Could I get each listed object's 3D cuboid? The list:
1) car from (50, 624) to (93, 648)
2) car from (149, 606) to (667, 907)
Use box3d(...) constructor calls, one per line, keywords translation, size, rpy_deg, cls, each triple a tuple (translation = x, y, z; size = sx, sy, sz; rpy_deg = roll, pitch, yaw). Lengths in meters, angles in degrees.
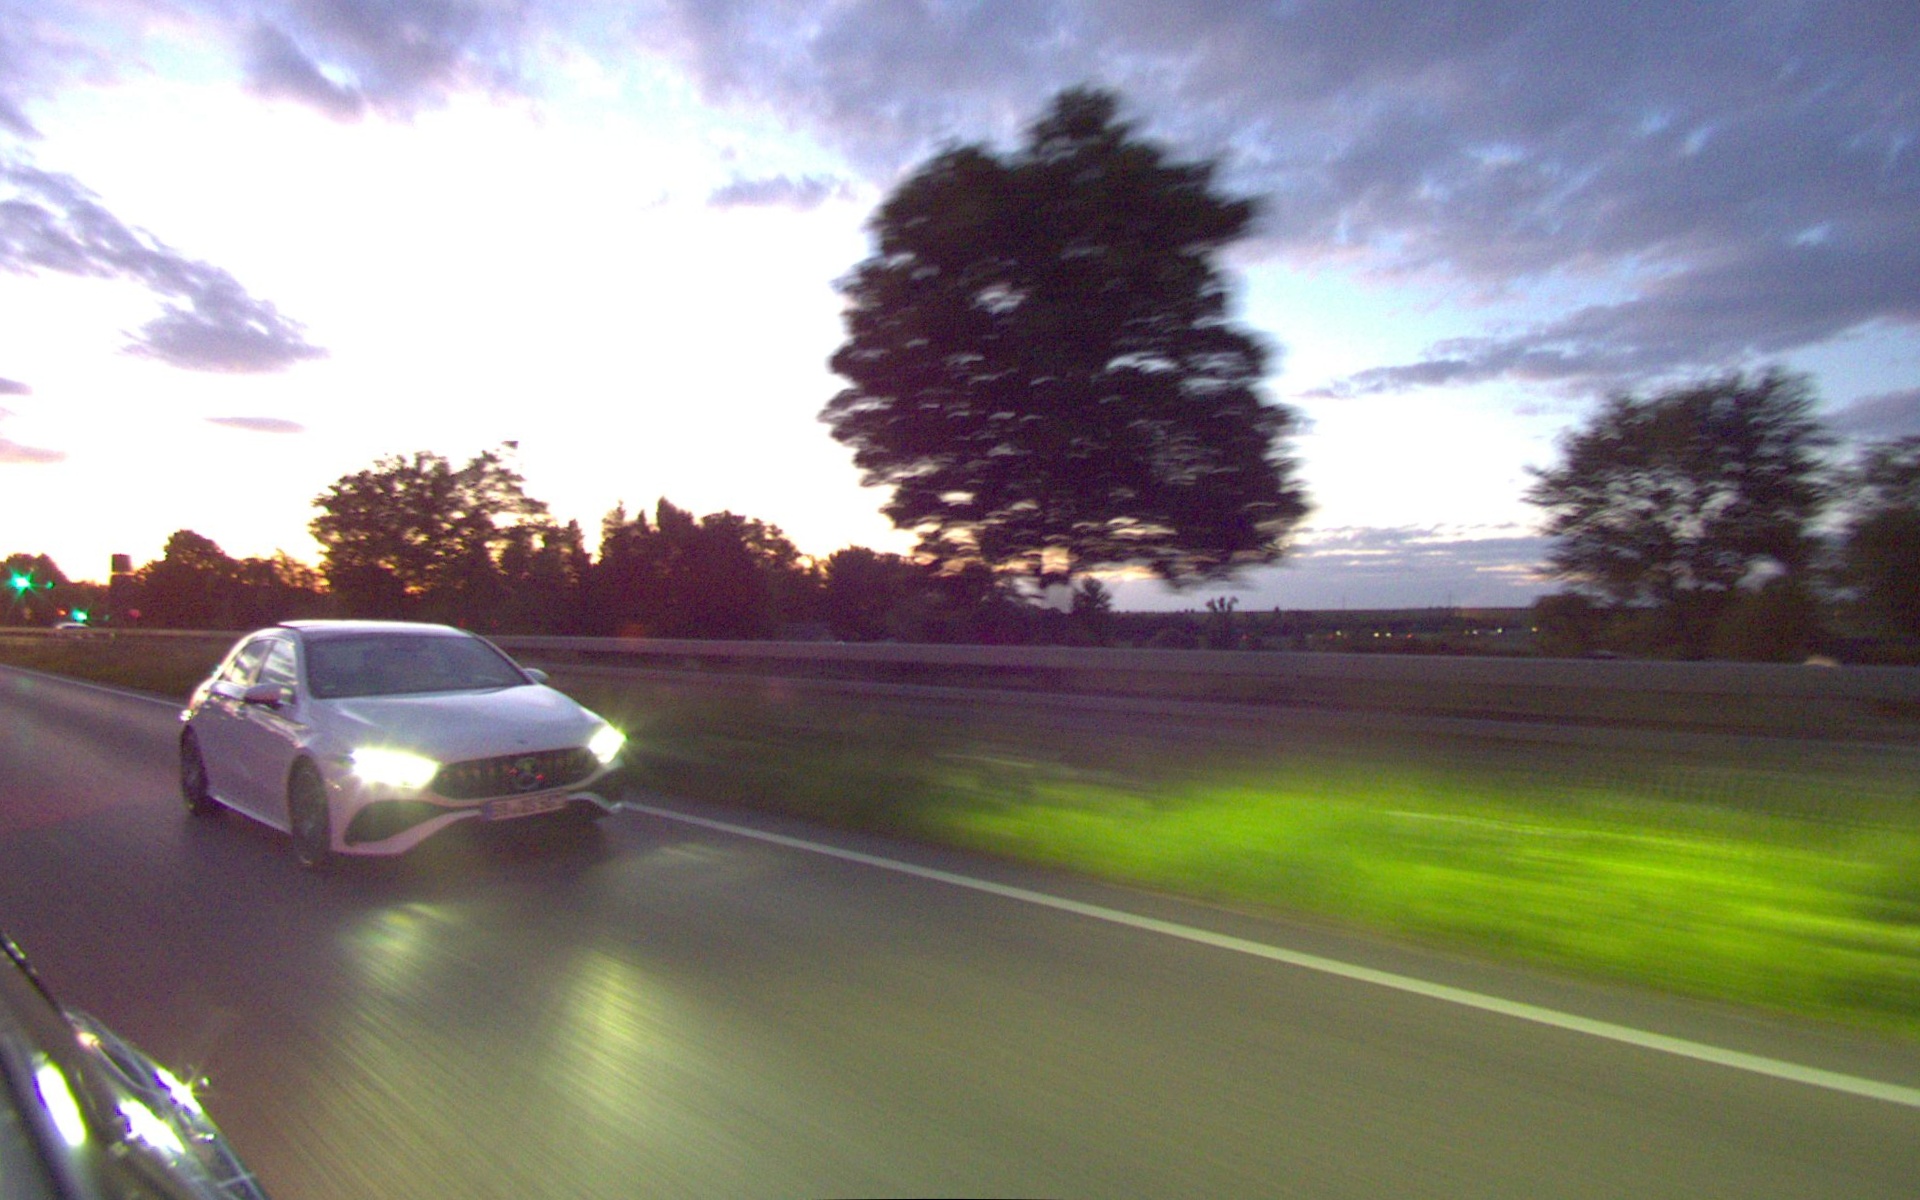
box3d(translation=(-60.362, 2.431, 68.763), size=(3.997, 1.516, 1.638), rpy_deg=(-2, 0, 40), cls="car")
box3d(translation=(-4.184, 0.862, 7.254), size=(4.644, 1.447, 1.796), rpy_deg=(-3, -1, 42), cls="car")
